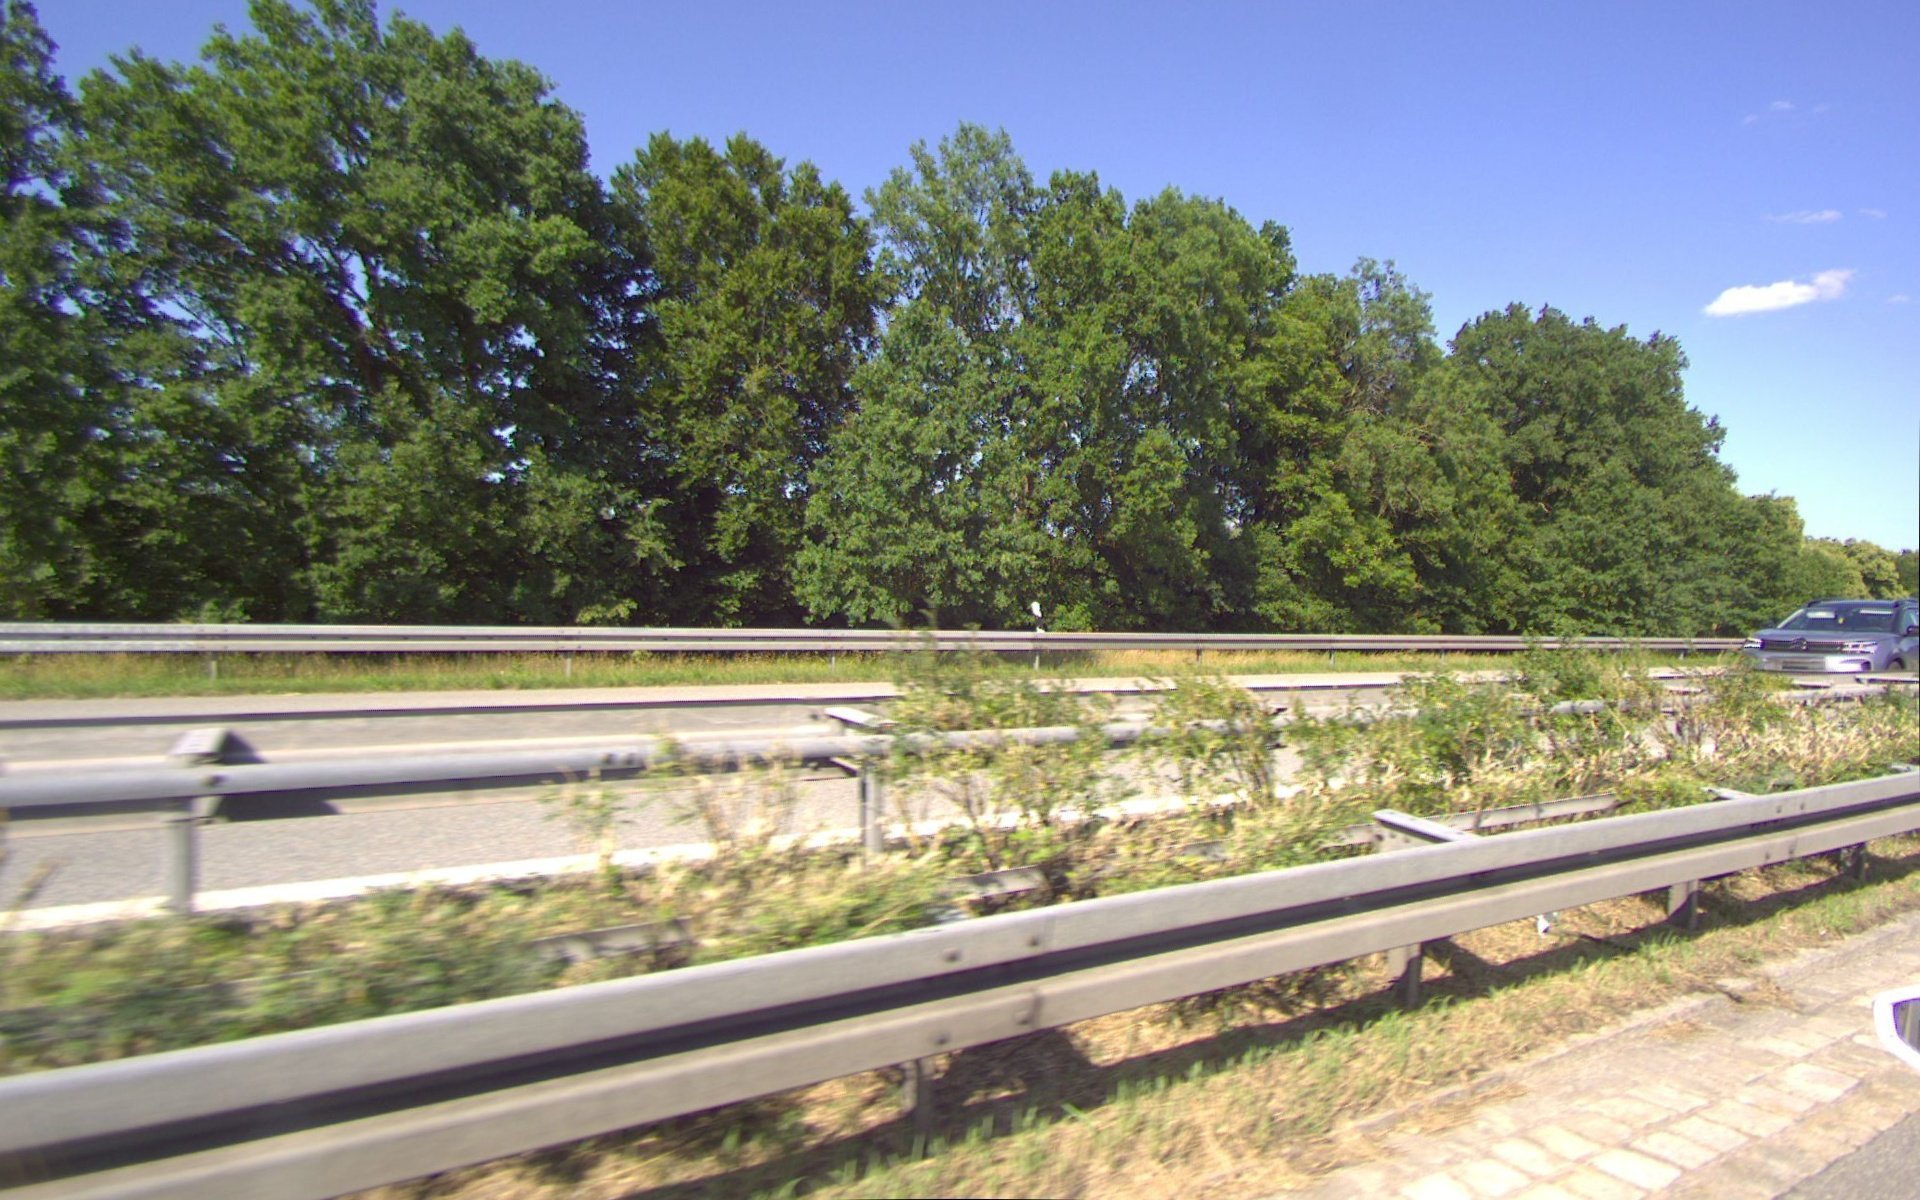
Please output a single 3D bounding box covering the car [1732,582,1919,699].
[{"bbox_3d":[14.147,0.623,15.798,3.953,1.628,1.834,2,-1,-30],"label":"car"}]
